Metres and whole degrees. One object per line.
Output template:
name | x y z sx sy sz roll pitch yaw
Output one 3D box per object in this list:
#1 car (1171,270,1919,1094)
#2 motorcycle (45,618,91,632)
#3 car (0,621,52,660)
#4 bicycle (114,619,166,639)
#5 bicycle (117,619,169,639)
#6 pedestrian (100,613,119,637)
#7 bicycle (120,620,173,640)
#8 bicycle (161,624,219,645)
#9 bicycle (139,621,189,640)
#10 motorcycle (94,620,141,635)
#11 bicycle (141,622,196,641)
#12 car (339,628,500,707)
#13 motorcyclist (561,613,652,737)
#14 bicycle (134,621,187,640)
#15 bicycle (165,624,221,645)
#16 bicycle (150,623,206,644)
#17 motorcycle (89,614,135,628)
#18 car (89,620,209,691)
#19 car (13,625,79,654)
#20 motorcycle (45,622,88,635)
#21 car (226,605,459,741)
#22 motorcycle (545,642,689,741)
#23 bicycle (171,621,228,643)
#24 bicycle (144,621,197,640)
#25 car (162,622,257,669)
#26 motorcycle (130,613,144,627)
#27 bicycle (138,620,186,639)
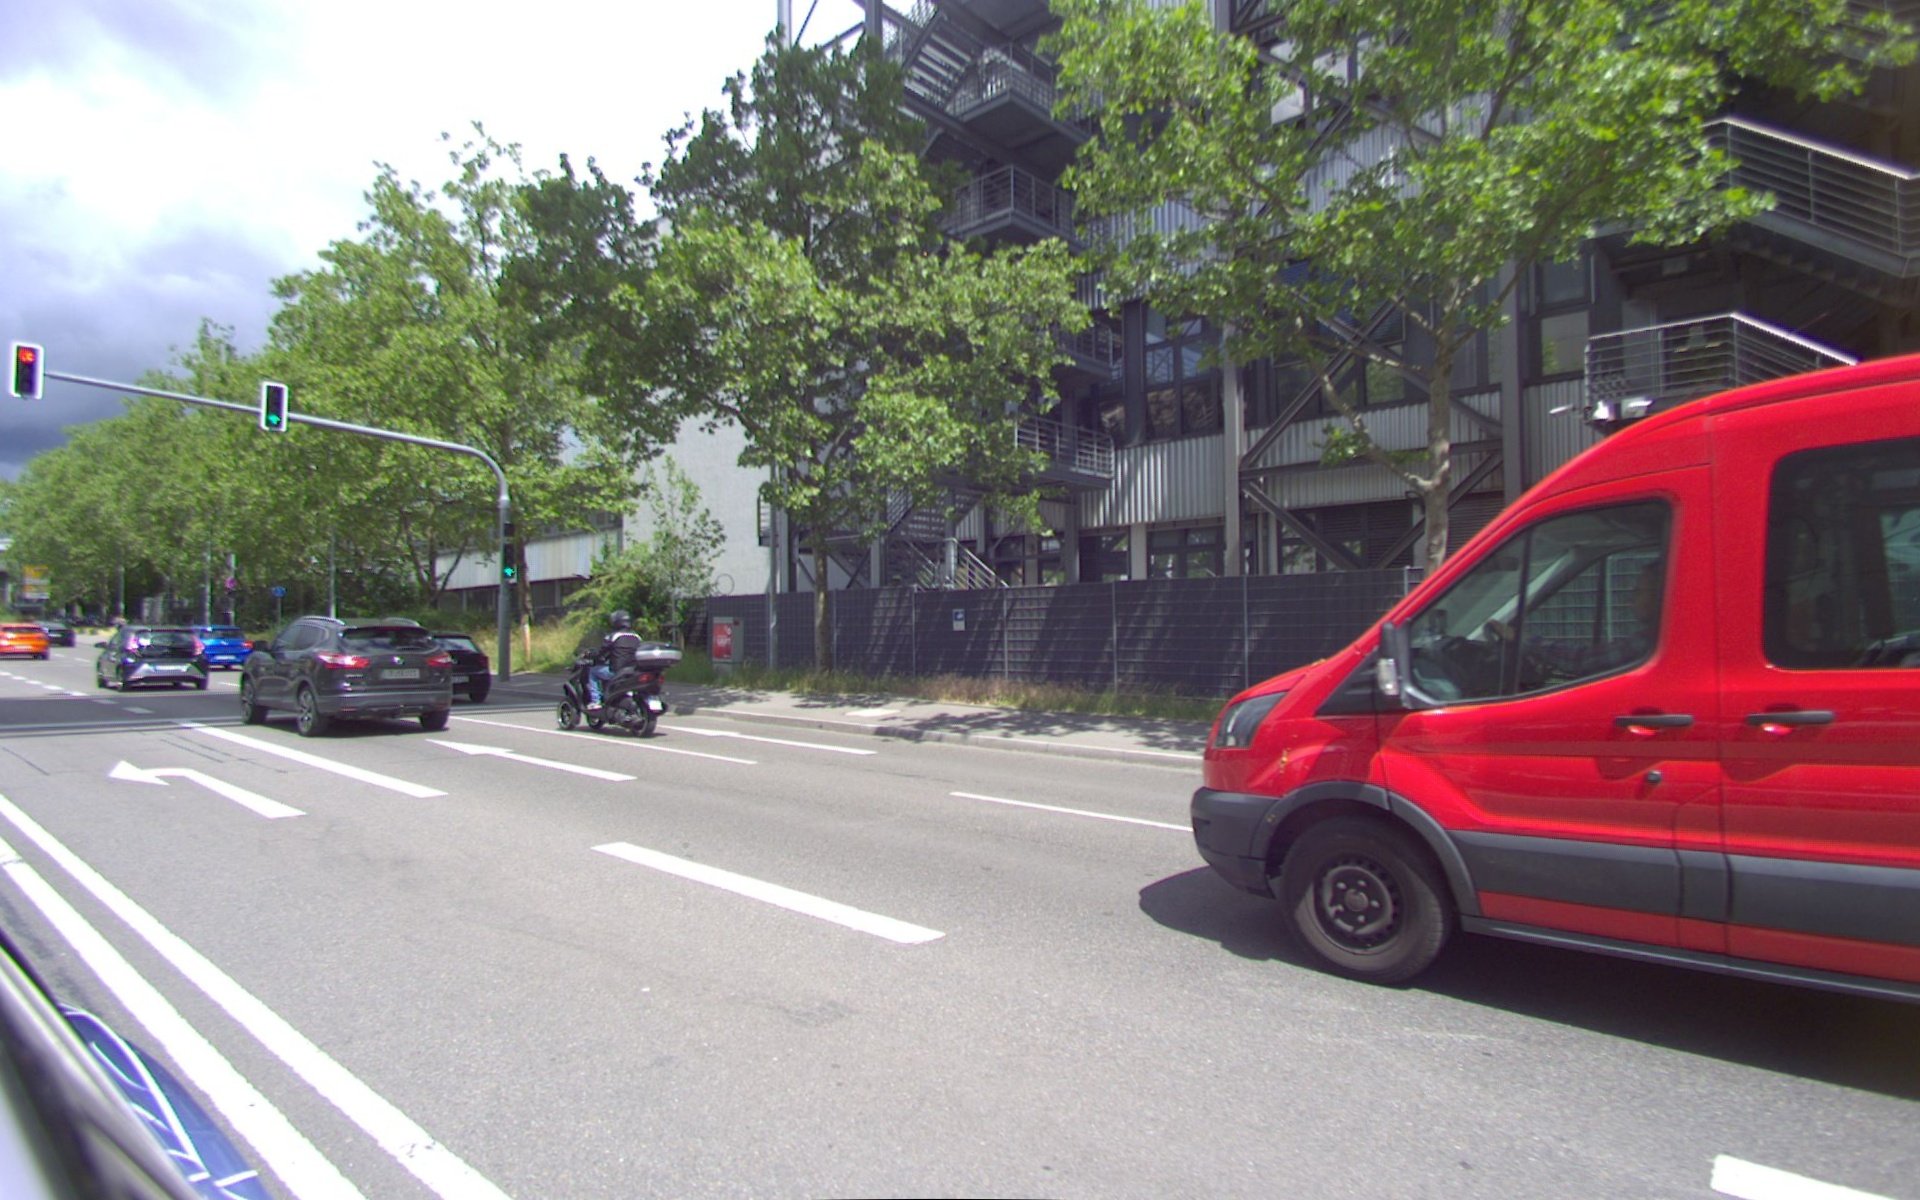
car | 3.716 0.273 3.784 5.478 2.526 2.041 -2 -3 42
motorcycle | -72.694 2.056 82.522 0.600 1.044 2.792 -5 -3 44
car | -36.964 1.560 39.386 3.901 1.465 1.865 -1 -3 41
bicycle | -52.971 1.871 65.407 0.615 1.187 2.529 -1 0 42
bicycle | -52.337 1.848 64.821 0.615 1.187 2.529 -1 0 42
pedestrian | -55.726 1.658 66.328 0.749 1.544 0.835 -1 0 42
bicycle | -51.627 1.873 64.247 0.615 1.187 2.529 -1 0 42
bicycle | -43.459 1.951 57.149 2.525 1.093 0.616 -1 0 -43
bicycle | -49.662 1.872 63.126 0.615 1.093 2.382 -1 0 40
motorcycle | -66.298 2.141 79.626 0.600 1.044 2.792 -5 -3 44
bicycle | -47.733 1.878 61.065 0.628 1.093 2.527 -1 0 44
car | -11.050 1.318 20.587 3.918 1.439 1.560 -1 -3 41
motorcyclist | -4.944 1.014 14.148 1.094 1.635 0.726 -1 0 38
bicycle | -49.175 1.862 62.286 2.525 1.093 0.616 -1 0 -43
bicycle | -43.956 1.961 58.012 2.524 1.093 0.616 -1 0 -41
bicycle | -45.720 1.938 59.180 0.614 1.093 2.536 -1 0 33
motorcycle | -67.826 1.686 80.970 0.600 1.044 2.792 -5 -3 44
car | -18.776 1.237 23.379 3.612 1.516 1.541 -1 -3 42
car | -49.530 2.128 54.830 4.765 1.465 1.973 -1 -3 40
motorcycle | -78.079 2.473 88.448 0.600 1.044 2.792 -5 -3 44
car | -9.077 0.943 14.735 4.211 1.696 1.718 -1 -1 41
motorcycle | -4.767 1.215 13.964 2.373 1.229 0.668 -1 -2 38
bicycle | -42.426 1.774 56.483 2.525 1.093 0.616 -1 0 -43
bicycle | -48.165 1.859 61.793 2.522 1.093 0.617 -1 0 -36
car | -24.525 1.468 33.032 3.819 1.440 1.675 -2 -3 41
motorcycle | -69.240 1.677 85.129 2.590 1.044 0.591 -5 -3 44
bicycle | -50.411 1.851 63.976 2.376 1.093 0.617 -1 0 -39
